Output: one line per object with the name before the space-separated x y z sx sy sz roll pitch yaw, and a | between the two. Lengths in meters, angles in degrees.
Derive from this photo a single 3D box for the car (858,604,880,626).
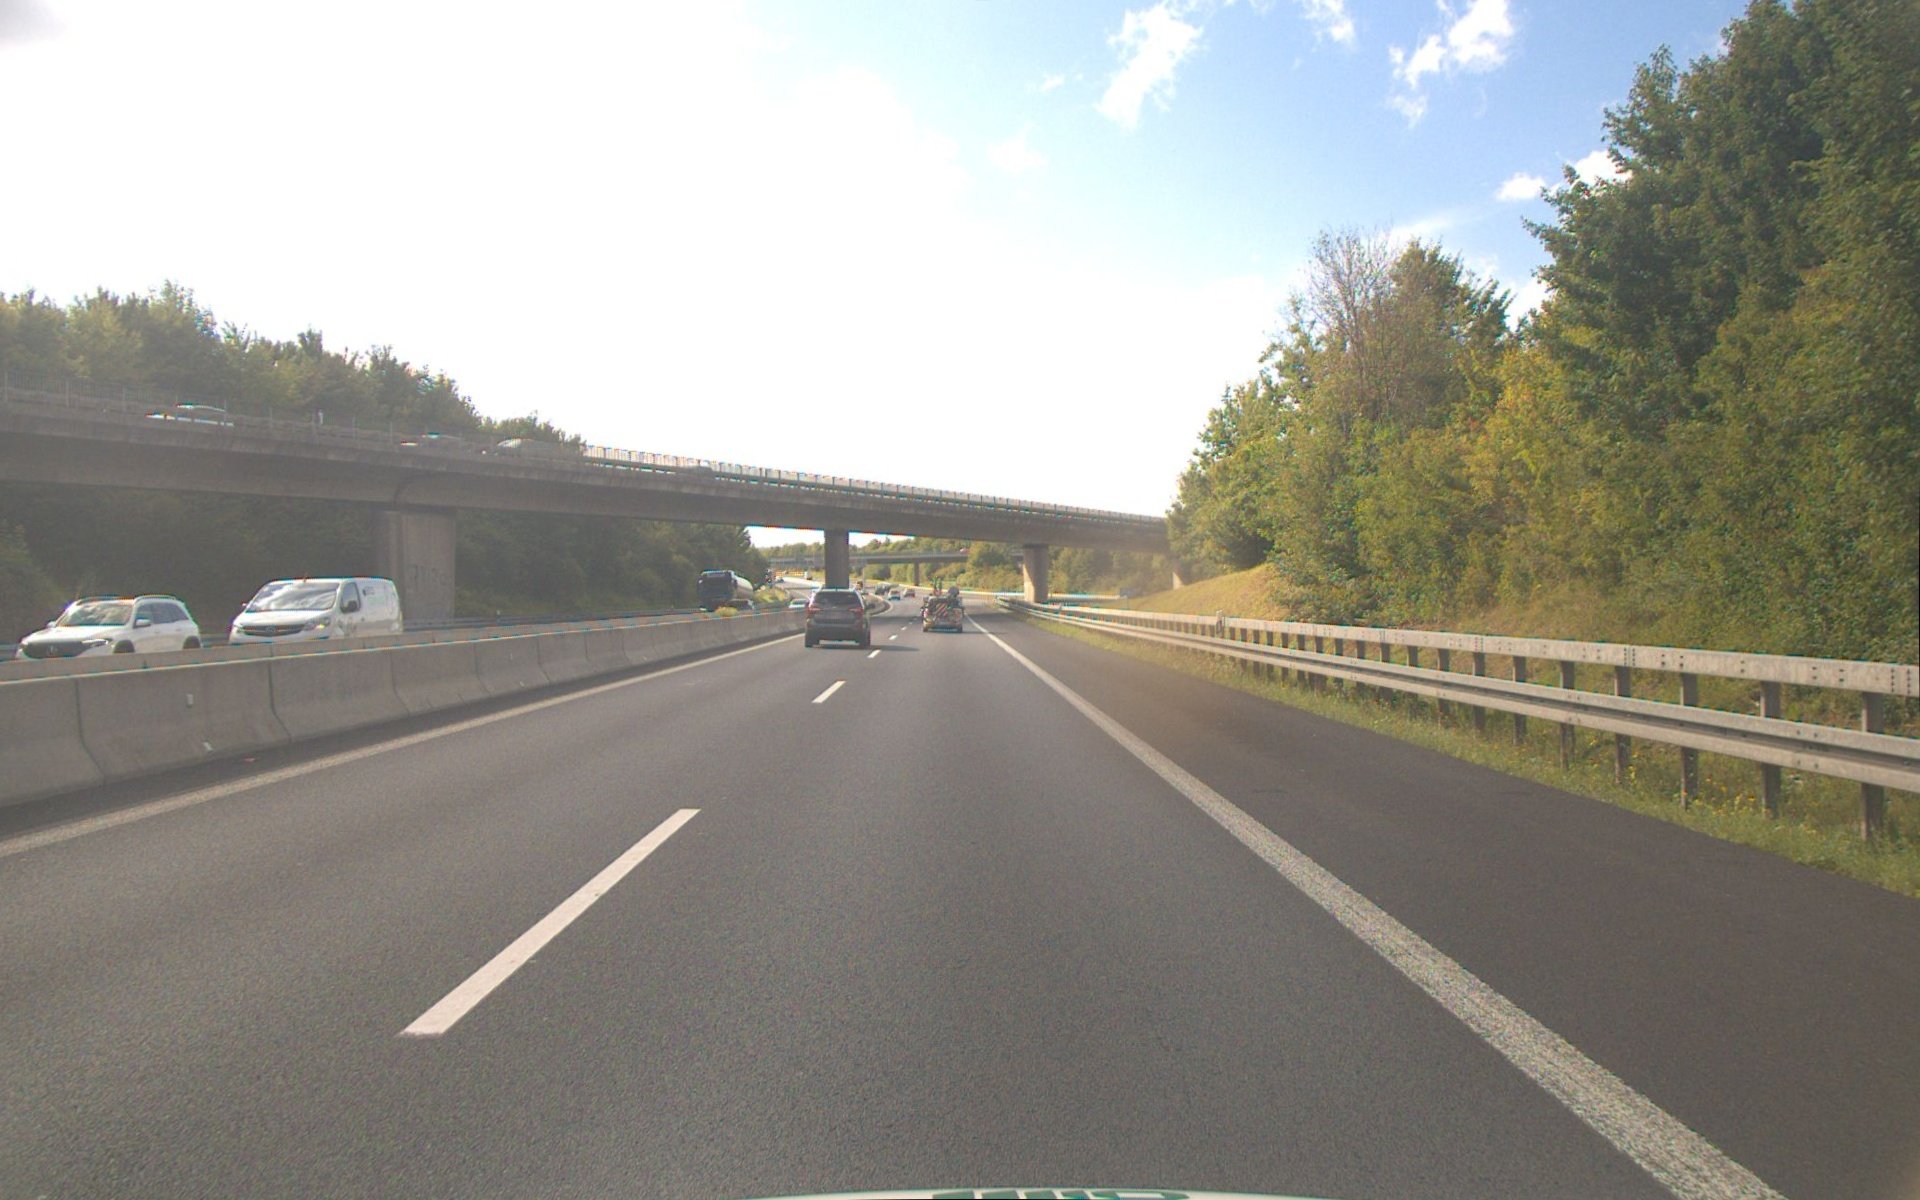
car | -8.915 1.477 162.120 1.953 2.049 3.999 -1 0 -1

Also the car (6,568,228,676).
car | -16.567 0.407 32.811 1.953 1.929 4.821 -1 0 -1

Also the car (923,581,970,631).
car | -0.574 0.259 72.875 1.953 2.117 4.000 -1 0 0

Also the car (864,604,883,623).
car | -9.575 1.495 183.794 1.953 2.049 3.999 -1 0 -1

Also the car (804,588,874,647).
car | -3.574 0.502 49.313 1.714 1.659 3.609 -1 0 1

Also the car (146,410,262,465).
car | -33.346 -7.151 73.129 1.951 1.929 4.825 -1 0 17

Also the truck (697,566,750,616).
truck | -17.543 -0.621 123.302 2.621 3.506 9.827 -1 0 -1

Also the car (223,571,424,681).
car | -12.341 0.466 32.472 1.953 1.929 5.188 -1 0 -1

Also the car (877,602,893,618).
car | -9.688 1.273 213.877 1.953 2.049 3.999 -1 0 -1
